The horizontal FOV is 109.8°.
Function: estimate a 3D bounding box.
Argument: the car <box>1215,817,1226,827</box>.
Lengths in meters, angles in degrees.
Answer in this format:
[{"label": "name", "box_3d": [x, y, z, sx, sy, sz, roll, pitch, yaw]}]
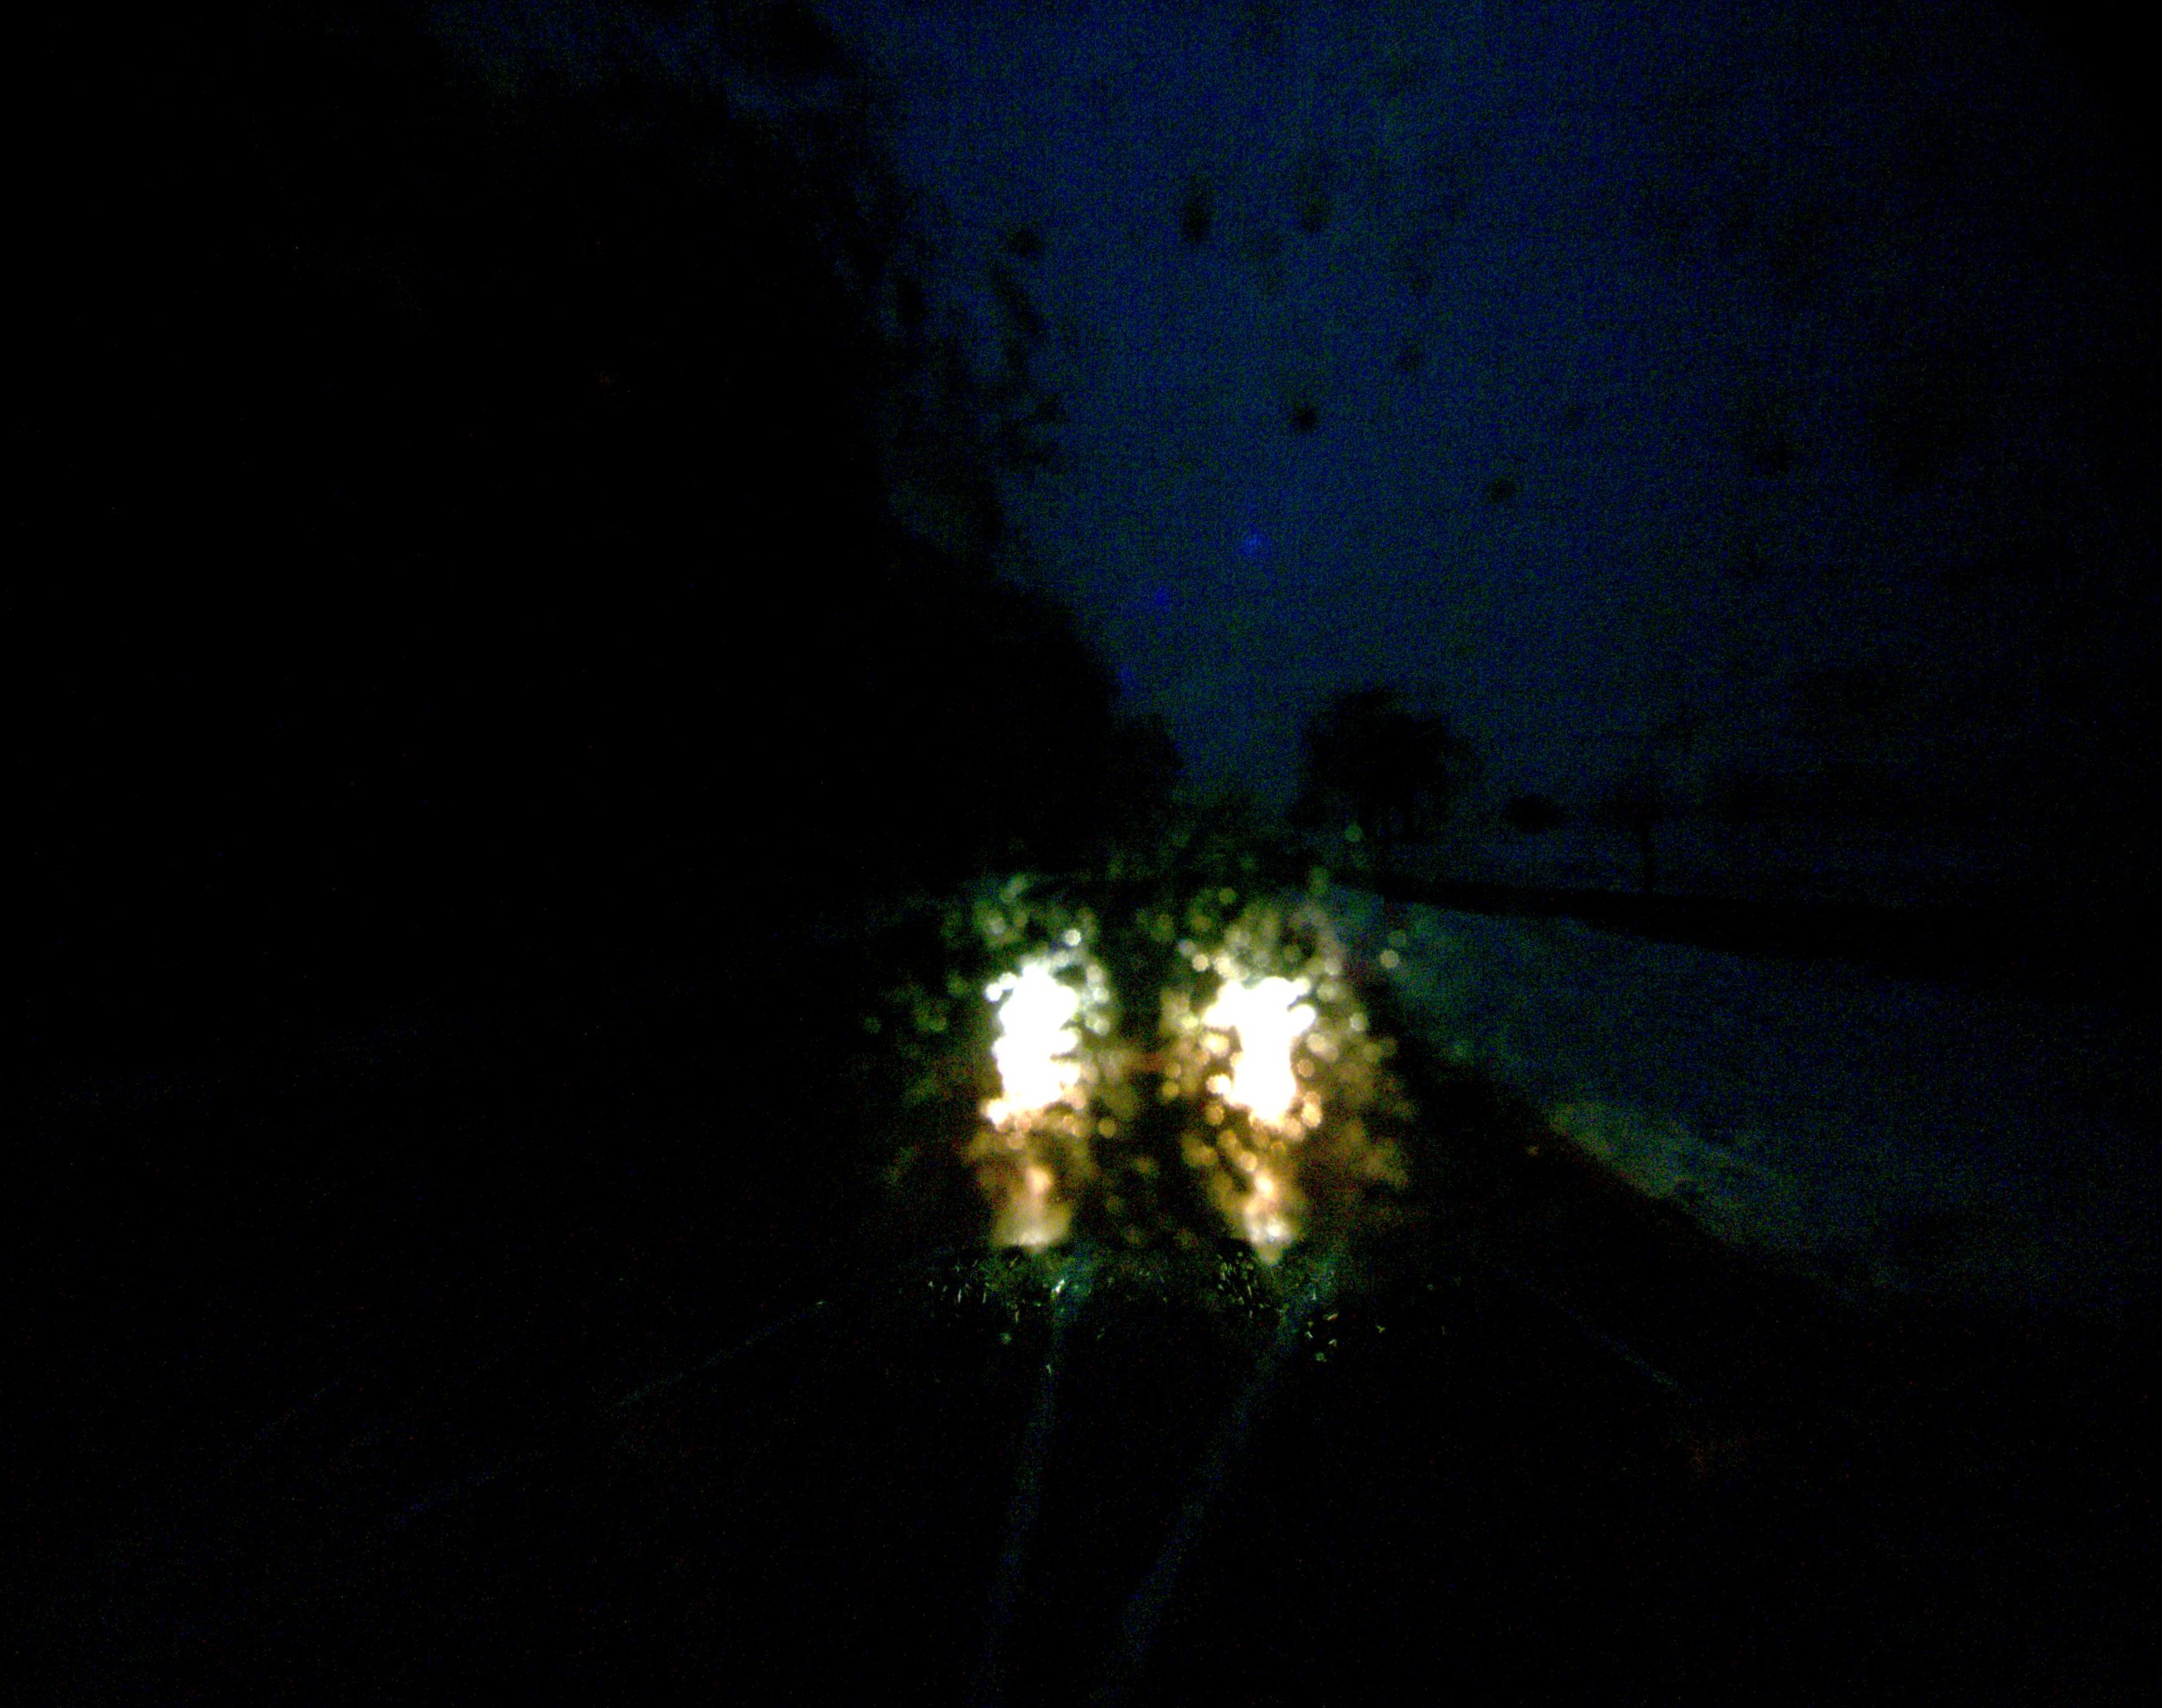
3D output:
[{"label": "car", "box_3d": [26.187, -5.952, 142.706, 1.997, 1.797, 4.001, -2, 2, 9]}]

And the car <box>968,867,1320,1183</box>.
[{"label": "car", "box_3d": [0.390, 0.909, 5.683, 1.725, 1.426, 3.676, -2, 1, 2]}]
